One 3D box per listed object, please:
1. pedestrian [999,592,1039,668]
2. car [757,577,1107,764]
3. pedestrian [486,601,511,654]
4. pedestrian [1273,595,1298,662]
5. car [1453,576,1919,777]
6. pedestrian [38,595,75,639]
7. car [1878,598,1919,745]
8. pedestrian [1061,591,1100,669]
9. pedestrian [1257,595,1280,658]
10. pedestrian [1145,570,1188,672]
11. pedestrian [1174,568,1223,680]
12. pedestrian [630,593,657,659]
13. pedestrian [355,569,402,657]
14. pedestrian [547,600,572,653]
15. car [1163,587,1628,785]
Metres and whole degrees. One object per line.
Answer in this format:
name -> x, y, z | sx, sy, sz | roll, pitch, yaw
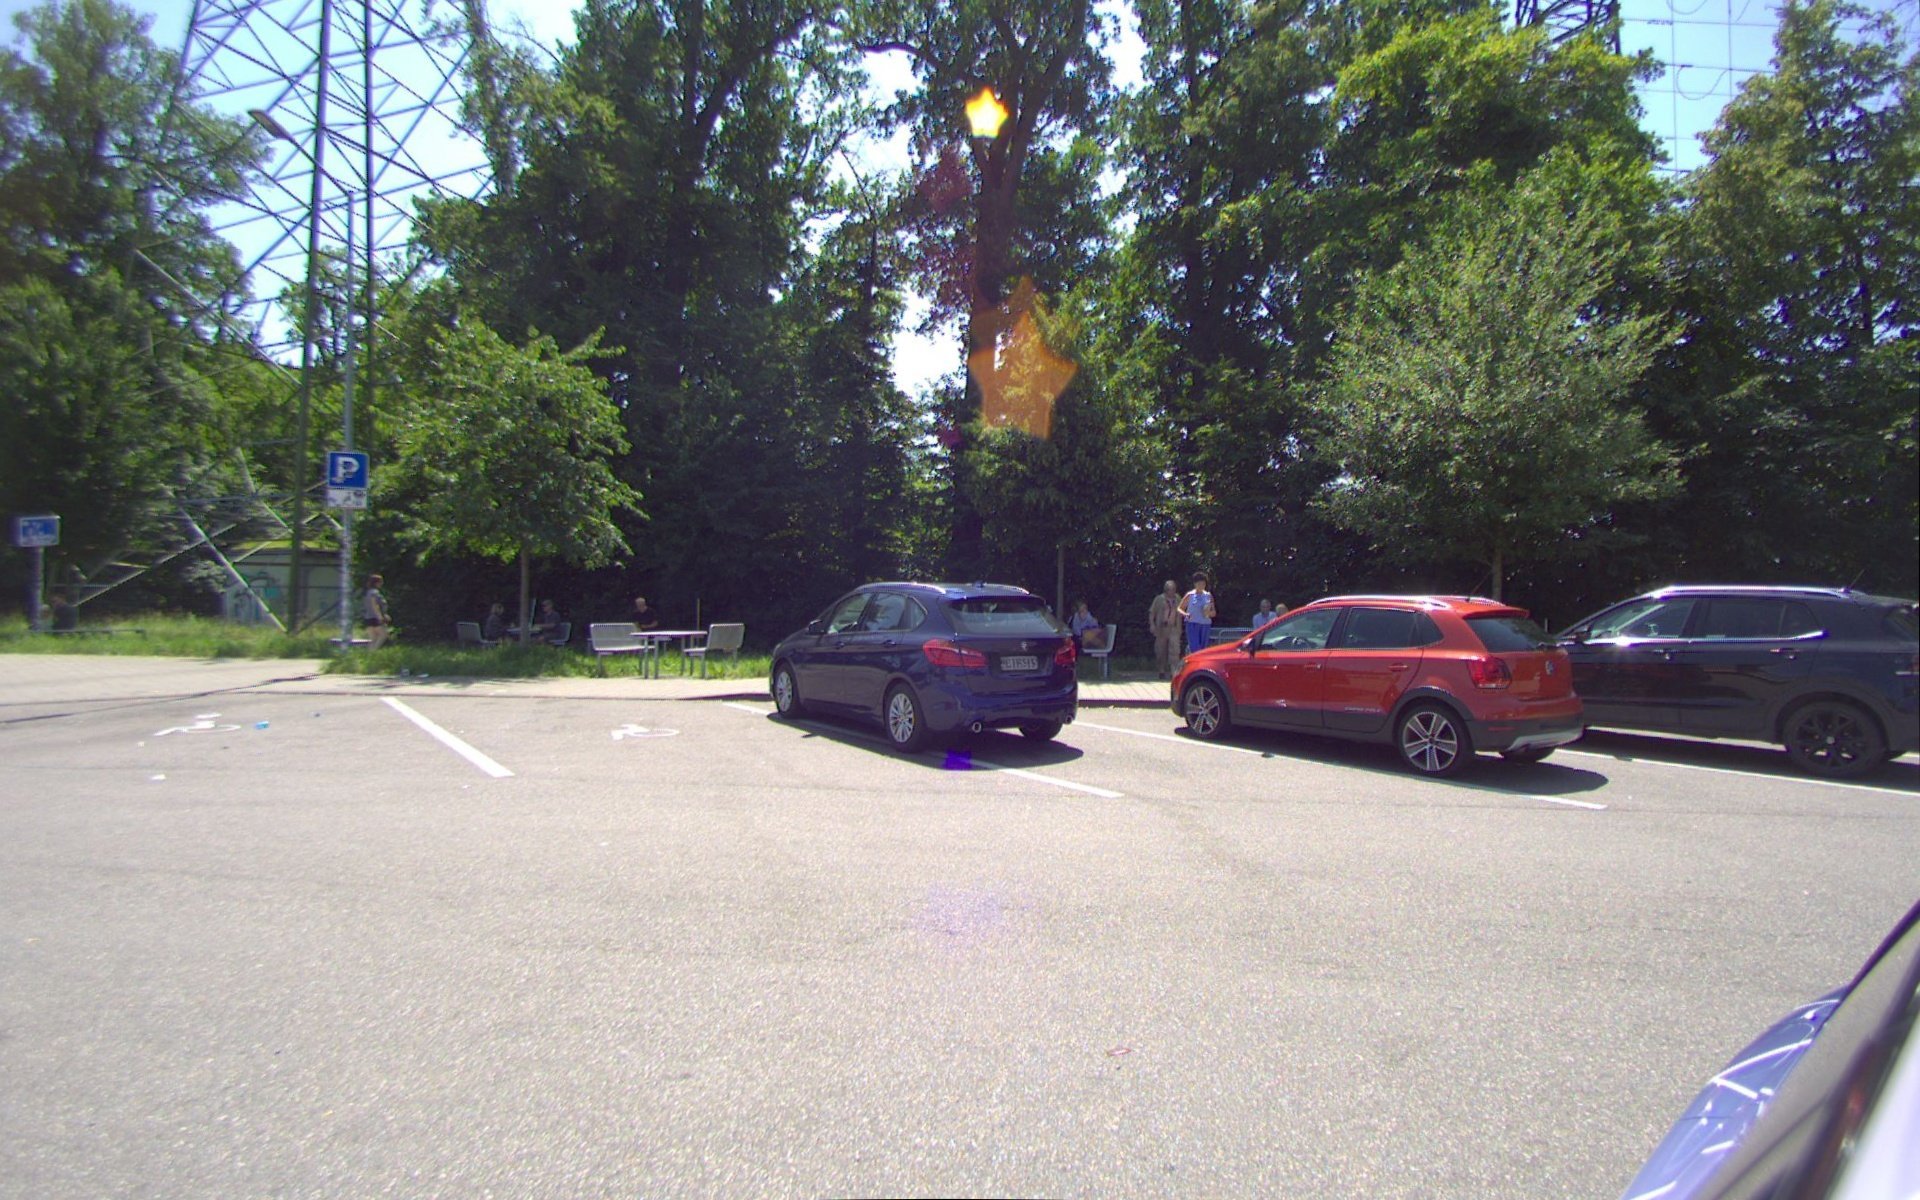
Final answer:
pedestrian -> 0.998, 0.492, 17.116 | 0.586, 1.261, 0.445 | 0, 0, 16
car -> -0.532, 0.546, 10.792 | 1.714, 1.572, 4.347 | 0, 1, -33
pedestrian -> -10.424, 0.608, 22.862 | 0.452, 1.182, 0.447 | 0, 0, -34
pedestrian -> 5.780, 0.501, 17.953 | 0.350, 1.180, 0.384 | 0, 0, 8
car -> 7.105, 0.589, 9.868 | 1.620, 1.575, 3.826 | 0, 0, -37
pedestrian -> -20.942, 0.391, 23.462 | 0.452, 0.987, 0.447 | 0, 0, -2
car -> 10.906, 0.699, 9.013 | 1.620, 1.420, 3.826 | 0, 0, -37
pedestrian -> 2.012, 0.490, 16.860 | 0.586, 1.261, 0.498 | 0, 0, 16
pedestrian -> 5.828, 0.489, 19.129 | 0.350, 1.180, 0.384 | 0, 0, 8
pedestrian -> 3.381, 0.337, 16.574 | 0.636, 1.625, 0.571 | 0, 0, 7
pedestrian -> 3.527, 0.351, 14.997 | 0.636, 1.625, 0.571 | 0, 0, 7
pedestrian -> -6.677, 0.541, 21.350 | 0.438, 1.363, 0.462 | 0, 0, -5
pedestrian -> -11.380, 0.241, 19.814 | 0.702, 1.670, 0.687 | 0, 0, -39
pedestrian -> -9.336, 0.609, 23.603 | 0.452, 1.209, 0.447 | 0, 0, -34
car -> 3.889, 0.630, 9.652 | 1.619, 1.487, 3.830 | 0, 0, -33
